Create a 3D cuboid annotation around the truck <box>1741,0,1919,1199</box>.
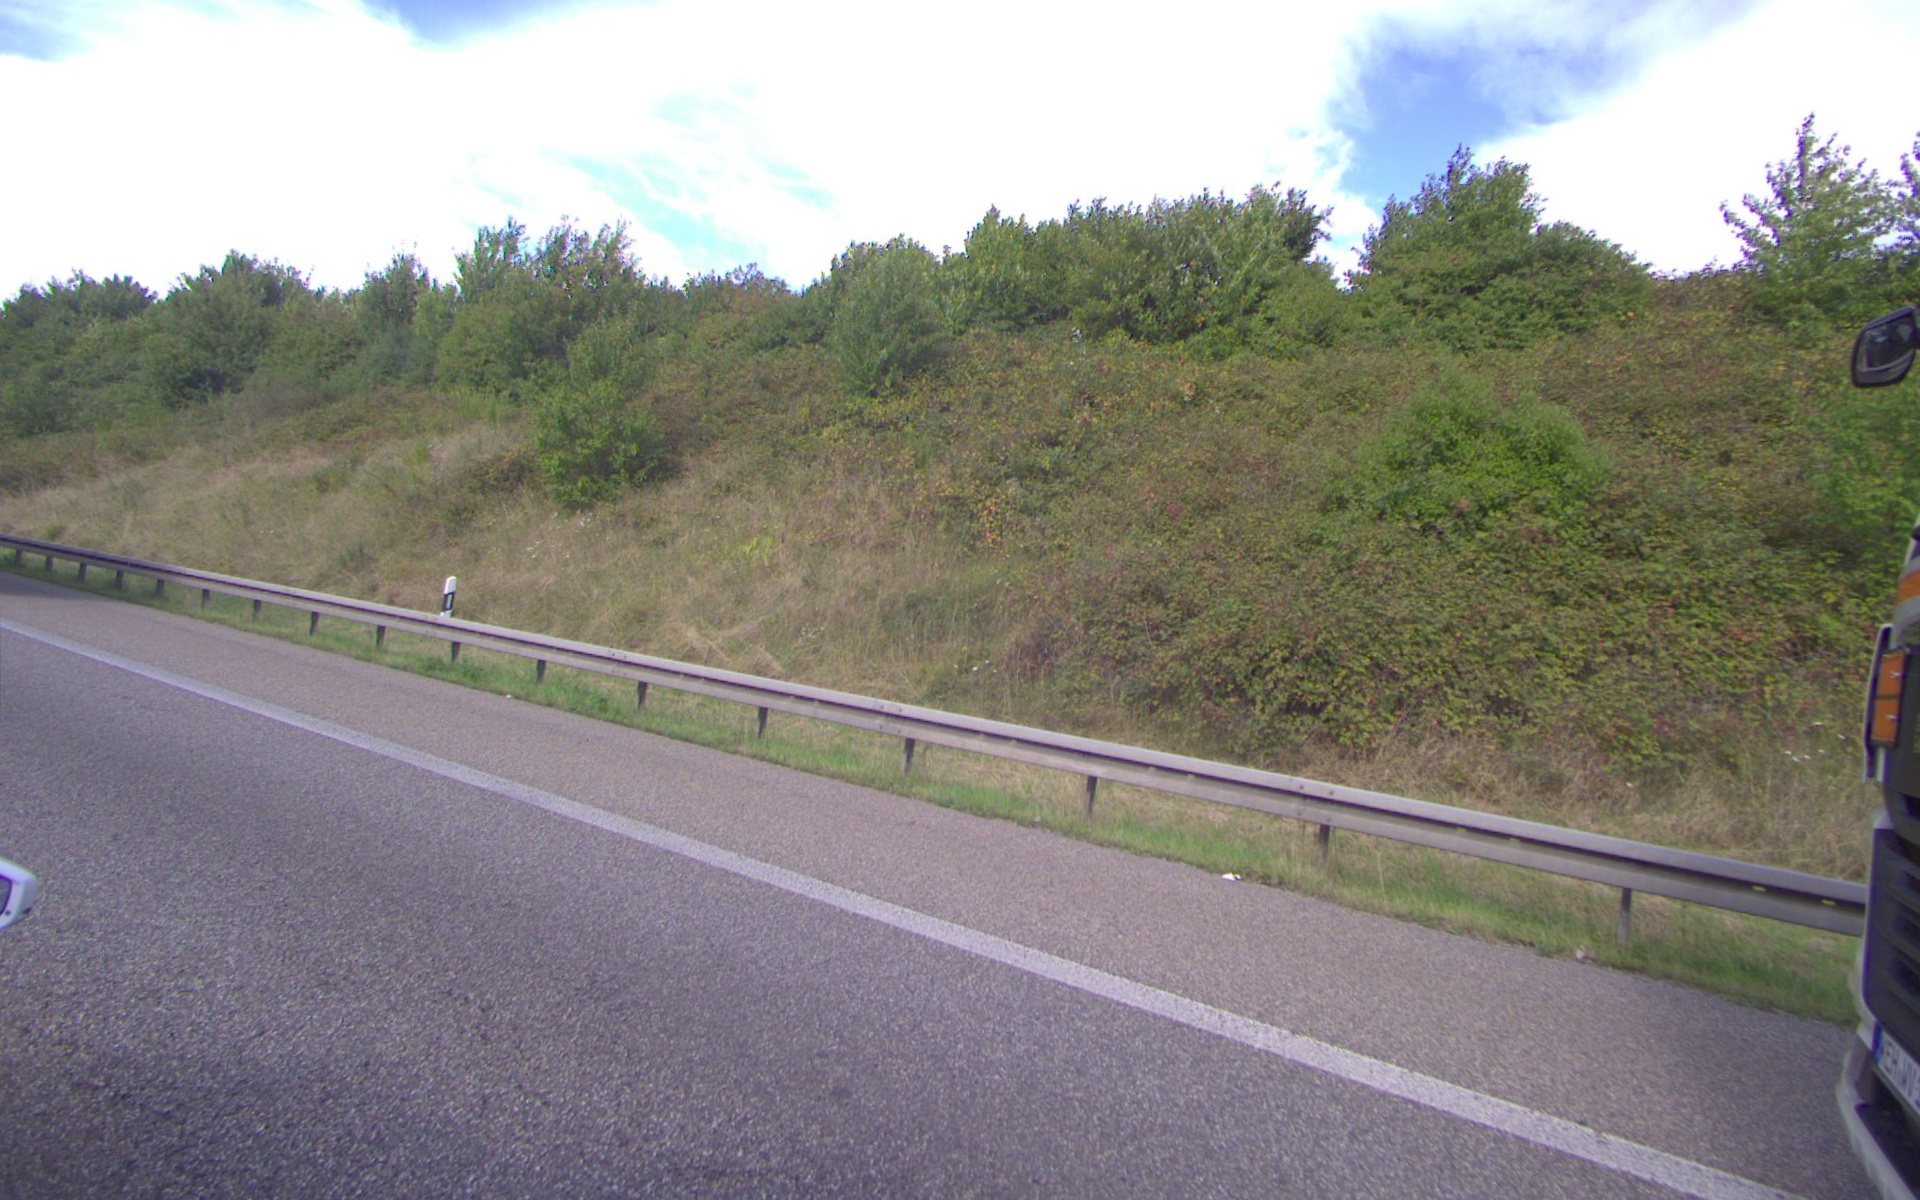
[{"bbox_3d":[4.787,0.066,0.928,5.808,4.091,2.806,7,-1,33],"label":"truck"}]
